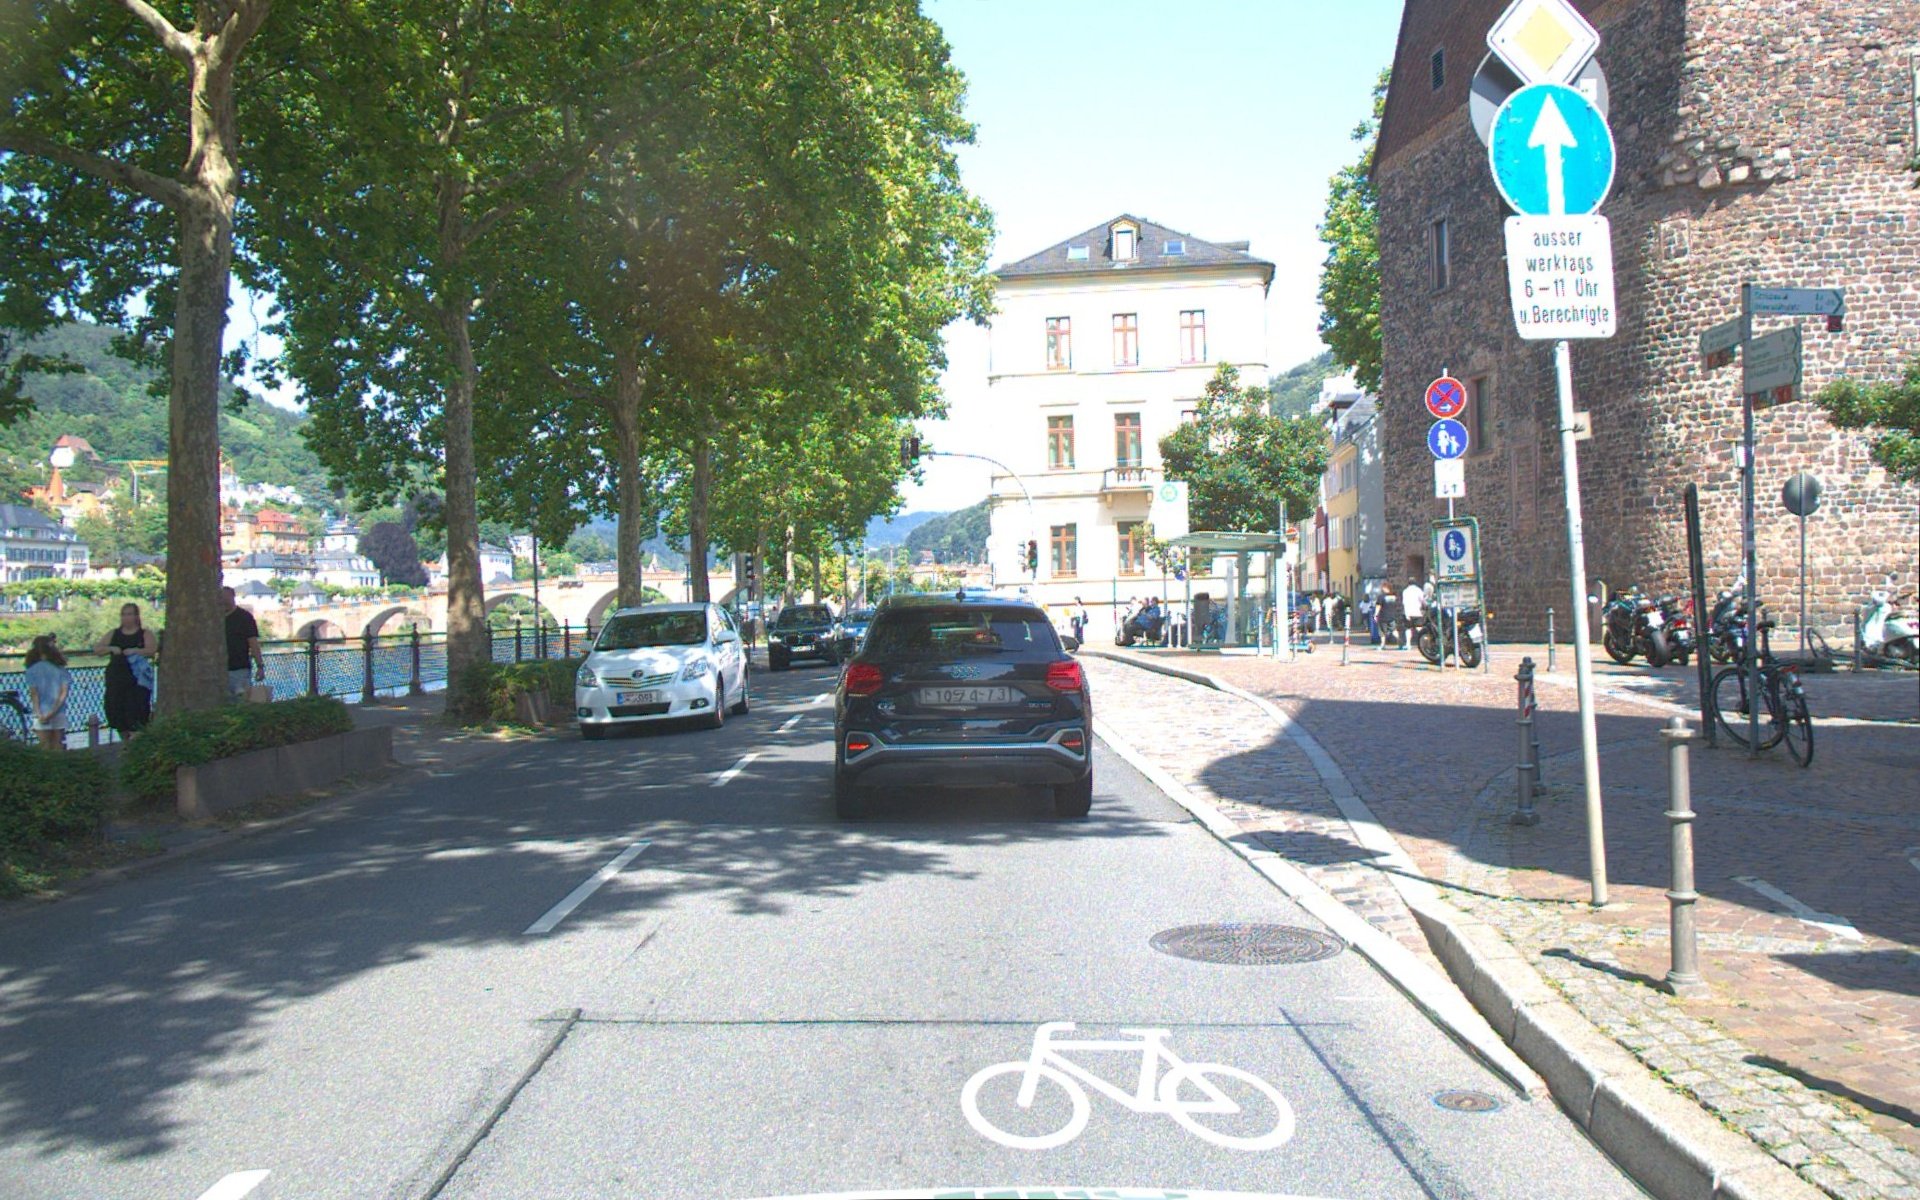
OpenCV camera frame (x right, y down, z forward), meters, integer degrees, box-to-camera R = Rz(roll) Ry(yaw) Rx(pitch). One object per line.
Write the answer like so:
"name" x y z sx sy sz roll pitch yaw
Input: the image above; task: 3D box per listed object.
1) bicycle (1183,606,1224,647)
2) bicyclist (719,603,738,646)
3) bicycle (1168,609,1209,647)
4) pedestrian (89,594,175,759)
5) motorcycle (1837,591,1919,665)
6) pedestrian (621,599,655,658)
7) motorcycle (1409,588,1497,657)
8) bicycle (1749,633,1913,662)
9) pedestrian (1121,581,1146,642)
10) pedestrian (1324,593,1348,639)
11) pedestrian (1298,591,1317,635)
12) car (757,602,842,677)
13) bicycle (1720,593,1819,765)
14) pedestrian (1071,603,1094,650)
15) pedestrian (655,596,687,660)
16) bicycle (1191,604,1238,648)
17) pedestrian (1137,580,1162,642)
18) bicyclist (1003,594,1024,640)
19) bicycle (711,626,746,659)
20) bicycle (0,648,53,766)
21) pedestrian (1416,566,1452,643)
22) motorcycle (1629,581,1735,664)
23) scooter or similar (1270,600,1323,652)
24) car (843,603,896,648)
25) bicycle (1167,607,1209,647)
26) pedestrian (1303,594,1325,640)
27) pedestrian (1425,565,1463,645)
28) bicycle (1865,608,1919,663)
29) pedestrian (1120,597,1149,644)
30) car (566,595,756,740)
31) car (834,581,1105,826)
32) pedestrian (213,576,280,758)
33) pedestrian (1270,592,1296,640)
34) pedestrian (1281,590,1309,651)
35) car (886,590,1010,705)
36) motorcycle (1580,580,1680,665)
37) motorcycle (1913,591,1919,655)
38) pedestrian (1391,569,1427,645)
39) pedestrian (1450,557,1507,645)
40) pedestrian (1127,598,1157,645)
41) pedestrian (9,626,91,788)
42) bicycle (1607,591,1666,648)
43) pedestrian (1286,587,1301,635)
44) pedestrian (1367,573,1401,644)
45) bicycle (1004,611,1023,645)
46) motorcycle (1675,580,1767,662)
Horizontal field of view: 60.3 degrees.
"bicycle" 6.474 0.708 43.931 1.140 1.089 0.178 1 -1 -20
"bicyclist" -7.216 0.771 51.590 0.555 1.334 0.551 1 -1 -5
"bicycle" 6.266 0.765 45.391 1.166 1.033 0.178 1 -1 -20
"pedestrian" -8.825 0.804 17.640 0.589 1.715 0.583 -1 0 -2
"motorcycle" 14.158 0.435 25.302 0.496 1.092 1.839 1 -1 -1
"pedestrian" -10.015 0.889 51.493 0.891 1.843 0.586 0 -2 3
"motorcycle" 7.752 0.340 26.113 0.555 1.030 2.489 -1 0 -2
"bicycle" 12.356 0.676 23.533 1.887 0.388 0.918 -1 -1 14
"pedestrian" 5.878 0.398 55.947 0.626 2.049 0.664 0 -1 29
"pedestrian" 16.940 0.738 74.530 0.921 2.049 0.807 1 -1 -1
"pedestrian" 12.614 0.473 60.007 0.609 1.559 0.466 0 -1 2
"car" -4.302 1.024 44.971 1.777 1.754 4.420 -6 0 -1
"bicycle" 6.213 0.561 12.748 0.189 1.225 1.771 -1 0 10
"pedestrian" 4.015 0.858 54.110 0.679 1.527 0.513 1 -1 -5
"pedestrian" -9.357 0.909 53.619 0.891 2.049 0.586 0 -1 3
"bicycle" 6.665 0.684 43.230 1.284 1.147 0.178 1 -1 -20
"pedestrian" 6.340 0.375 55.245 0.626 2.049 0.664 0 -1 29
"bicyclist" 1.765 0.564 54.367 0.593 1.475 0.590 1 -1 -6
"bicycle" -7.225 1.315 51.559 1.072 1.024 0.303 1 -2 -8
"bicycle" -9.461 1.050 16.273 0.352 1.110 1.295 2 0 -2
"pedestrian" 12.103 0.121 42.240 0.655 1.954 0.821 1 -1 -2
"motorcycle" 11.507 0.361 26.452 0.661 1.257 2.312 1 -1 -1
"scooter or similar" 7.184 0.555 35.330 1.067 1.084 0.323 1 -1 -3
"car" -3.806 1.067 70.074 1.952 1.838 4.000 1 -1 1
"bicycle" 6.159 0.736 44.638 1.184 1.053 0.178 1 -1 -20
"pedestrian" 15.941 0.765 74.403 0.822 2.049 0.738 1 -1 -1
"pedestrian" 12.647 0.140 43.215 0.715 2.049 0.878 1 -1 -1
"bicycle" 15.193 0.563 26.437 0.346 0.835 1.925 1 0 -2
"pedestrian" 4.737 0.557 44.795 0.651 1.253 0.640 1 -1 -7
"car" -3.838 0.807 21.866 1.704 1.599 4.091 -4 0 -1
"car" 0.034 0.650 12.287 1.707 1.535 3.646 0 0 -1
"pedestrian" -7.628 0.710 17.691 0.523 1.920 0.436 0 -1 -1
"pedestrian" 13.716 0.684 70.248 0.925 2.049 0.807 1 -1 -1
"pedestrian" 7.787 0.472 38.480 0.546 1.409 0.588 1 -1 1
"car" -0.201 0.690 25.425 1.756 1.623 3.398 1 0 -1
"motorcycle" 10.620 0.353 26.291 0.642 1.288 2.199 0 -1 -1
"motorcycle" 16.855 0.392 27.374 1.826 1.072 0.480 0 -1 7
"pedestrian" 11.361 0.180 41.855 0.655 1.917 0.821 1 -1 -2
"pedestrian" 11.927 0.029 38.053 0.821 1.983 0.903 -1 0 -39
"pedestrian" 4.845 0.571 44.043 0.651 1.233 0.640 1 -1 -7
"pedestrian" -7.959 0.930 14.479 0.469 1.386 0.417 0 0 3
"bicycle" 14.869 0.434 36.399 0.381 1.230 1.715 1 -1 -9
"pedestrian" 12.099 0.403 60.017 0.440 1.710 0.466 0 -1 2
"pedestrian" 11.058 0.220 43.170 0.639 1.834 0.847 0 -1 -2
"bicycle" 1.757 0.908 54.321 0.428 1.105 1.675 1 -1 -5
"motorcycle" 12.286 0.344 26.758 0.535 1.257 2.030 1 -1 -1
